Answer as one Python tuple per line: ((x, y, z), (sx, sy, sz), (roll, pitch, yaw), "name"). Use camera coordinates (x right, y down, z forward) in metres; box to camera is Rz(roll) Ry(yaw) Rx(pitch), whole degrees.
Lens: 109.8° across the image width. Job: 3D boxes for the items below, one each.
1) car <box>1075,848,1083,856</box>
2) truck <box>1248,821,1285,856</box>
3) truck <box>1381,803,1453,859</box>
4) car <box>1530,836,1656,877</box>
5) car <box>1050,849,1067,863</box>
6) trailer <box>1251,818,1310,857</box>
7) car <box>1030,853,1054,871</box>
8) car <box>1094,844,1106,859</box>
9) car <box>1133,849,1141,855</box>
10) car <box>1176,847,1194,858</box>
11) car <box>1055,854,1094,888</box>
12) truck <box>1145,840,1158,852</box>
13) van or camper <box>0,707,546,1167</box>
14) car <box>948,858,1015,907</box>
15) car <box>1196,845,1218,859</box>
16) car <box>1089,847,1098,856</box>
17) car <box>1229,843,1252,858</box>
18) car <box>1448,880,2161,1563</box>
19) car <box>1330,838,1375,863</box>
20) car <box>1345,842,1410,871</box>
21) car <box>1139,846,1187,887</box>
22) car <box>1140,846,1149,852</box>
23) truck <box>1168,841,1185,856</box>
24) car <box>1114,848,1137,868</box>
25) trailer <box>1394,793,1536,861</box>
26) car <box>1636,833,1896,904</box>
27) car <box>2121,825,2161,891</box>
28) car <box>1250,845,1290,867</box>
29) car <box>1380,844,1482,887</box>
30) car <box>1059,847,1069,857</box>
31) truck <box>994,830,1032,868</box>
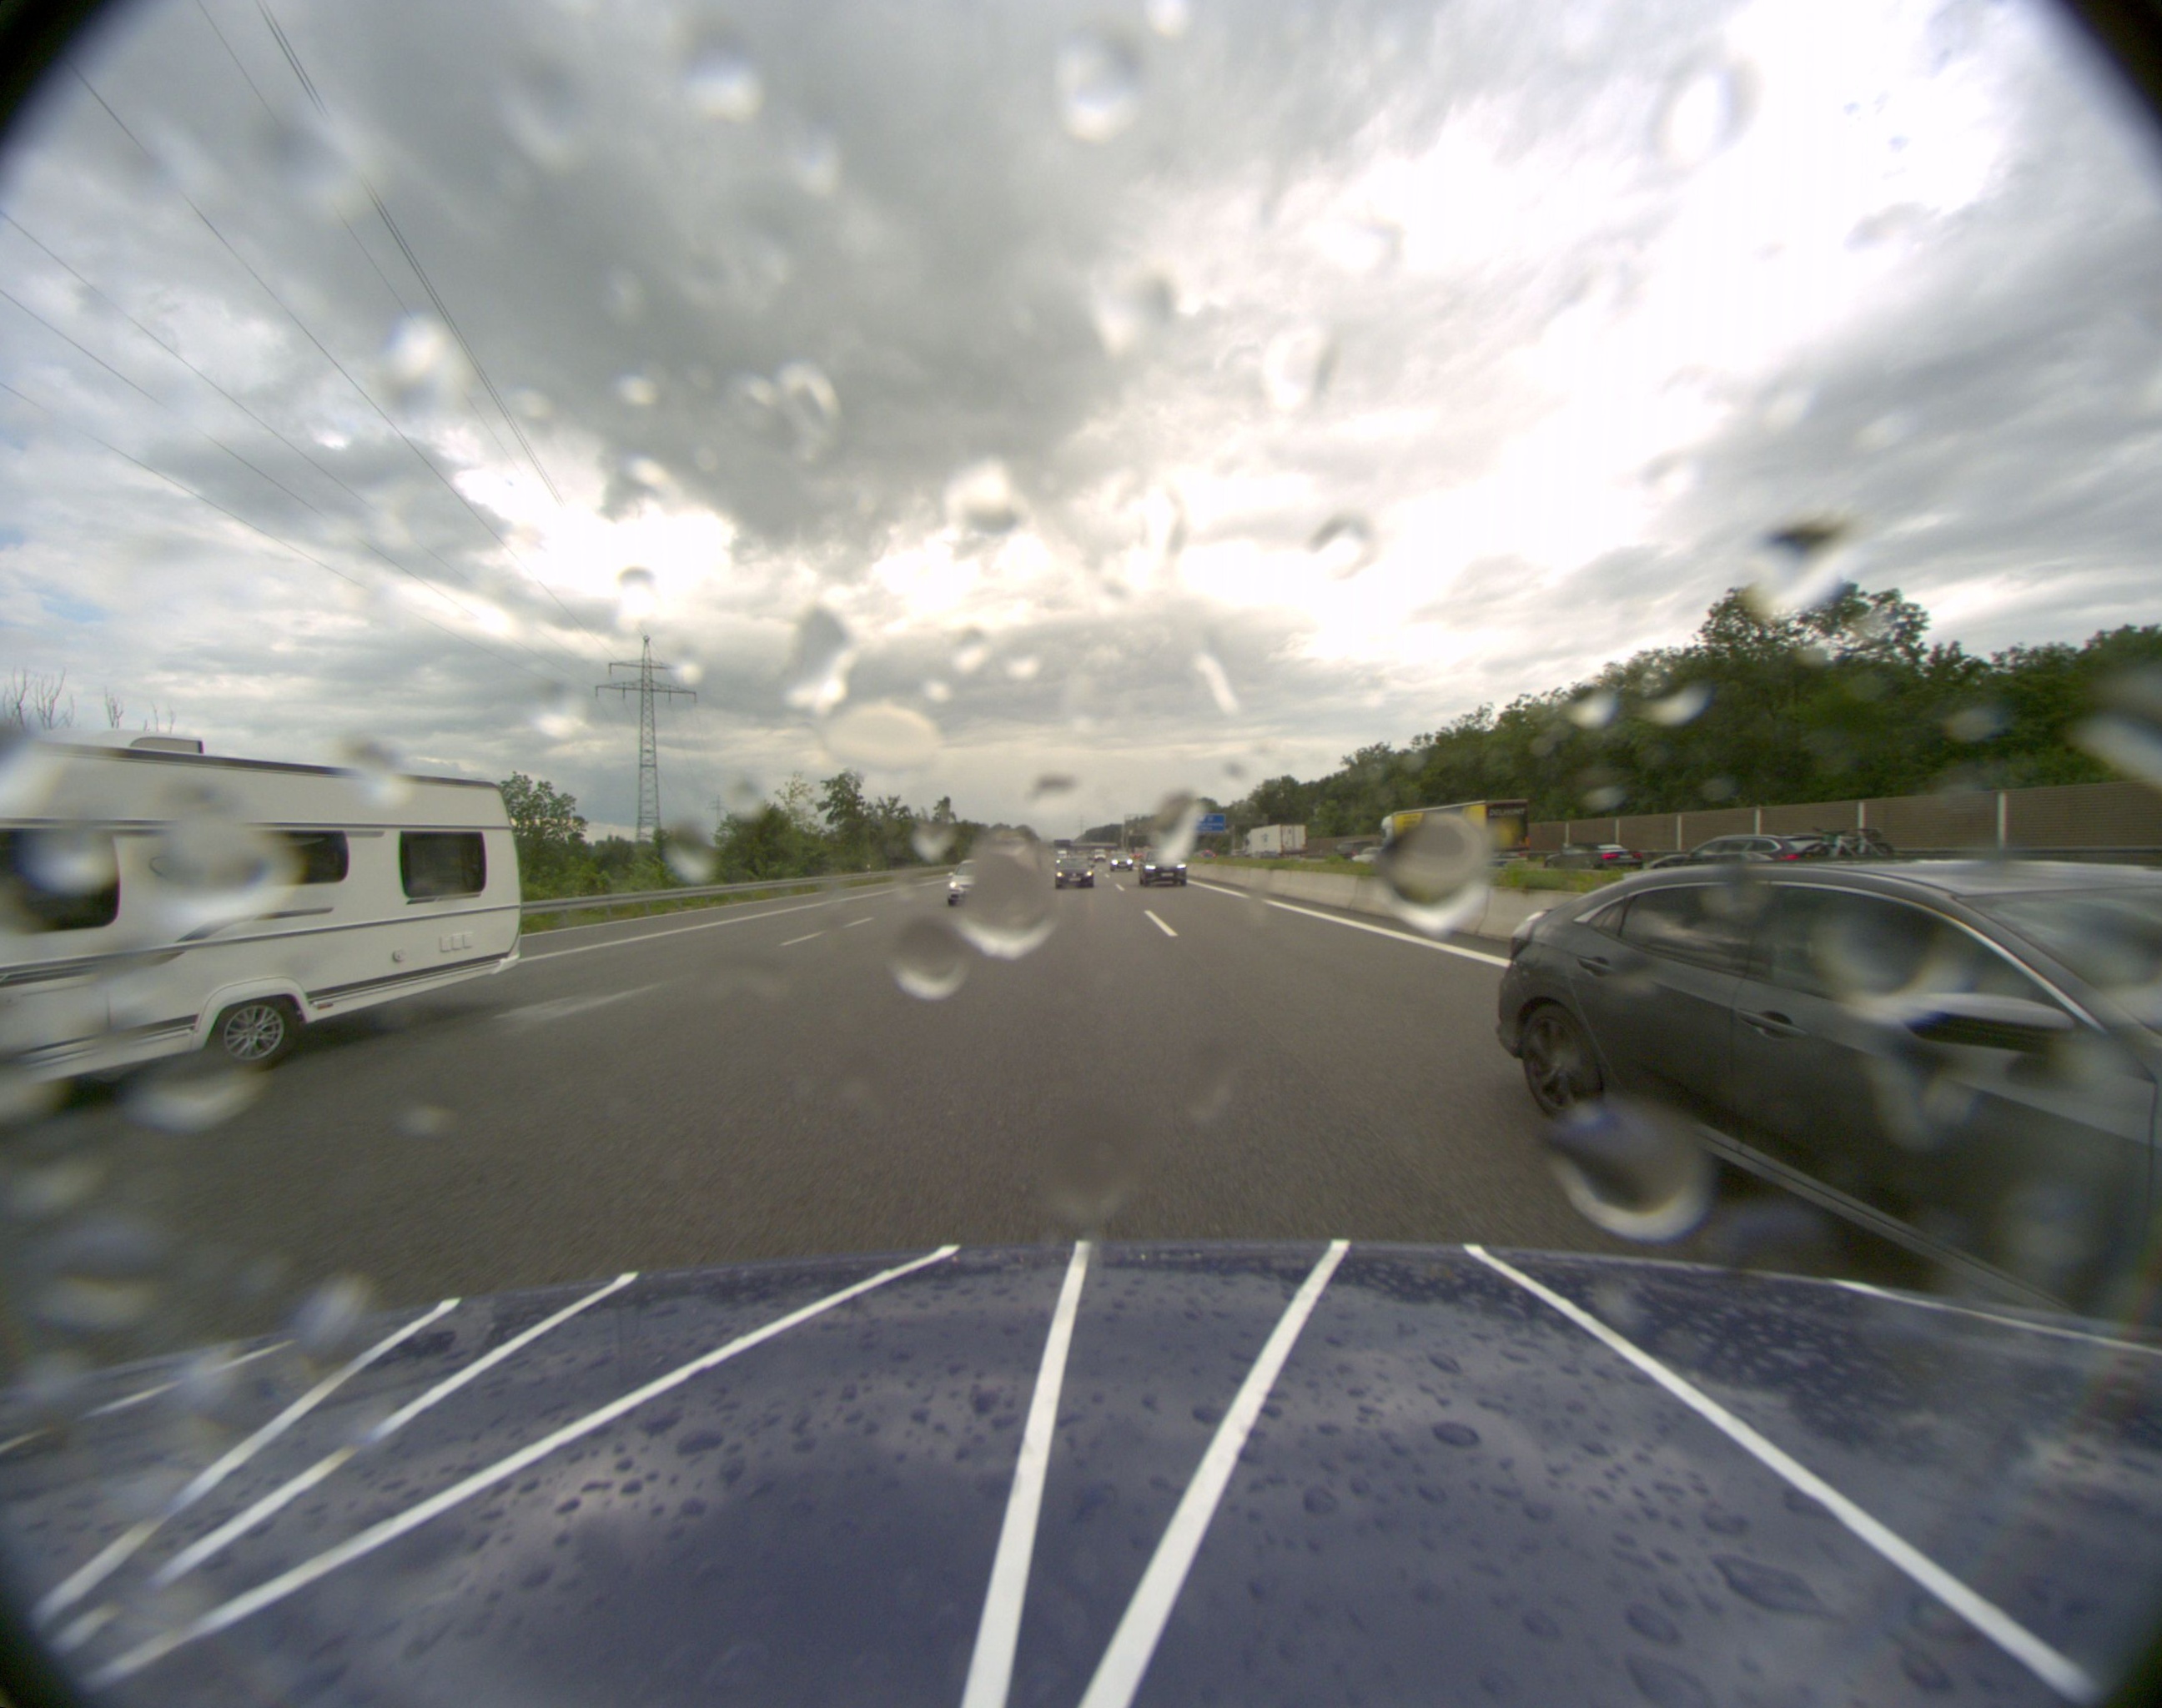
((-0.529, -0.574, 195.561), (1.998, 2.002, 4.000), (-2, 1, 1), "car")
((21.623, -1.789, 88.975), (2.732, 3.863, 6.003), (-2, 1, 0), "truck")
((25.630, -1.727, 58.315), (2.684, 3.941, 6.442), (-2, 1, 1), "truck")
((21.192, 0.067, 31.746), (1.770, 1.528, 5.160), (-2, 1, 0), "car")
((-2.930, 0.222, 98.040), (1.998, 1.701, 3.999), (-2, 1, 0), "car")
((21.713, -1.717, 83.734), (2.732, 3.863, 14.050), (-2, 1, 0), "trailer")
((-3.546, 0.708, 69.590), (1.840, 1.437, 4.000), (-2, 1, 1), "car")
((3.449, -0.465, 137.805), (1.998, 2.524, 4.808), (-2, 1, 1), "car")
((17.149, -0.664, 231.916), (1.998, 1.528, 3.999), (-2, 1, 0), "car")
((14.651, -0.248, 107.449), (1.998, 1.528, 3.999), (-2, 1, 0), "car")
((-0.245, 0.782, 36.320), (1.717, 1.437, 4.000), (-2, 1, 1), "car")
((24.465, -2.777, 263.371), (3.202, 4.005, 10.841), (-2, 1, 0), "truck")
((-7.616, 0.520, 5.424), (2.390, 2.723, 7.207), (-2, 1, 0), "van or camper")
((-3.302, 0.909, 25.905), (1.683, 1.437, 4.000), (-2, 1, 1), "car")
((14.636, -0.297, 88.326), (1.770, 1.528, 4.582), (-2, 1, 0), "car")
((2.981, -0.616, 182.017), (1.998, 2.002, 4.000), (-2, 1, 1), "car")
((18.043, -0.422, 85.991), (1.763, 1.528, 3.999), (-2, 1, 0), "car")
((3.315, 0.895, 2.493), (1.765, 1.361, 5.059), (-2, 0, 0), "car")
((21.821, -0.322, 61.285), (1.770, 1.883, 5.038), (-2, 1, 0), "car")
((17.582, 0.110, 45.327), (1.770, 1.528, 5.239), (-2, 1, 0), "car")
((3.724, 0.505, 35.353), (1.913, 1.681, 5.169), (-2, 1, 3), "car")
((18.114, -1.462, 216.360), (1.998, 1.528, 3.999), (-2, 1, 0), "car")
((18.023, -1.048, 144.096), (2.335, 2.812, 6.248), (-2, 1, 0), "truck")
((3.873, 0.298, 66.511), (1.840, 1.615, 4.915), (-2, 1, 3), "car")
((25.554, -1.660, 51.885), (2.684, 3.941, 14.051), (-2, 1, 1), "trailer")
((17.759, 0.300, 20.235), (1.770, 1.540, 5.713), (-2, 1, 0), "car")
((25.679, 0.089, 15.527), (1.770, 1.487, 5.160), (-2, 1, 0), "car")
((14.093, 0.121, 56.892), (1.770, 1.528, 4.582), (-2, 1, 0), "car")
((14.169, 0.400, 31.124), (1.770, 1.528, 5.160), (-2, 1, 0), "car")
((-3.664, -0.439, 167.882), (1.998, 2.002, 4.000), (-2, 1, 1), "car")
((-7.195, -0.555, 81.353), (2.870, 3.633, 9.594), (-2, 1, 1), "truck")
